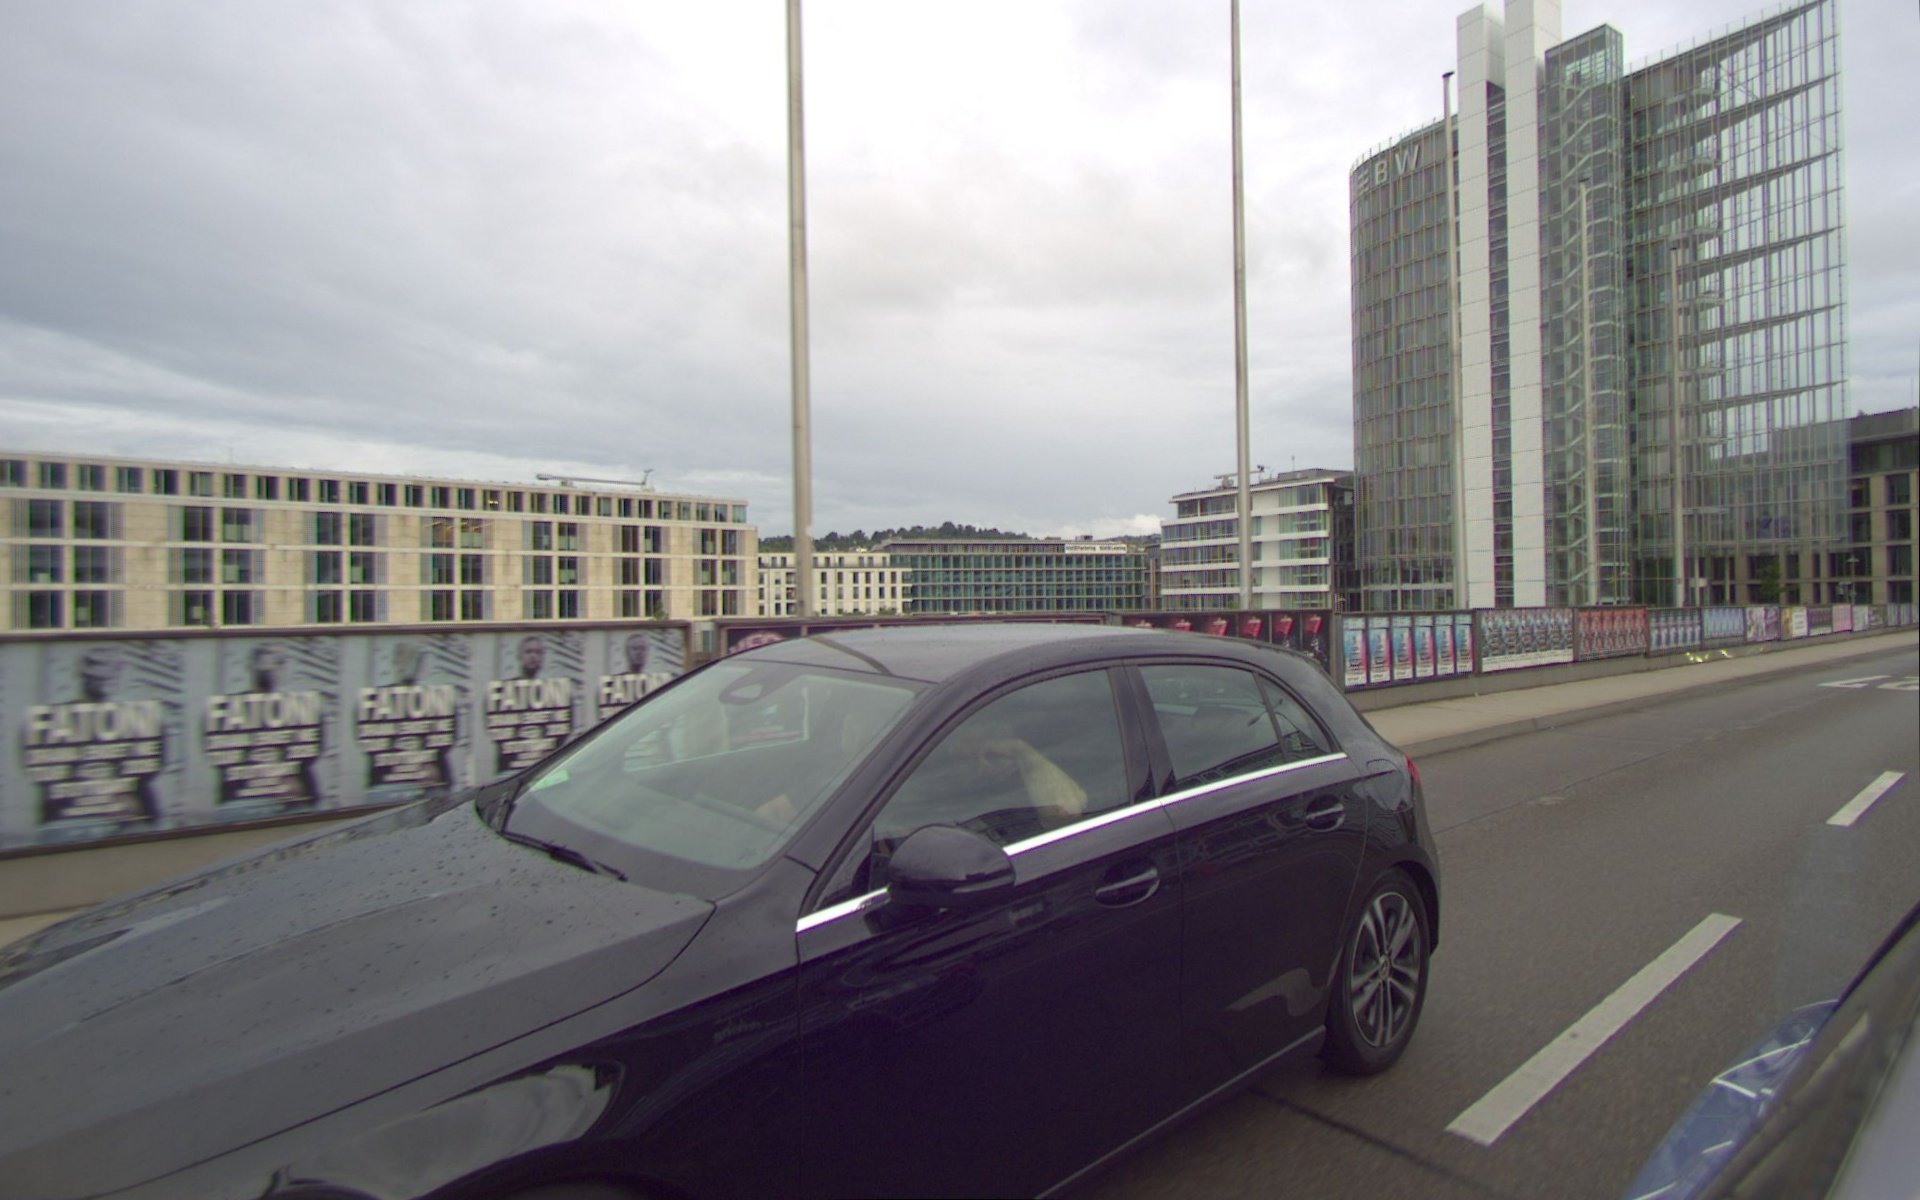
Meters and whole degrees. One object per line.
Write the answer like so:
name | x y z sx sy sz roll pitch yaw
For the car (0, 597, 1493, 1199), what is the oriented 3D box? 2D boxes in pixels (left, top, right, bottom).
car | -0.235 0.729 2.847 4.083 1.393 1.726 -1 1 -41
